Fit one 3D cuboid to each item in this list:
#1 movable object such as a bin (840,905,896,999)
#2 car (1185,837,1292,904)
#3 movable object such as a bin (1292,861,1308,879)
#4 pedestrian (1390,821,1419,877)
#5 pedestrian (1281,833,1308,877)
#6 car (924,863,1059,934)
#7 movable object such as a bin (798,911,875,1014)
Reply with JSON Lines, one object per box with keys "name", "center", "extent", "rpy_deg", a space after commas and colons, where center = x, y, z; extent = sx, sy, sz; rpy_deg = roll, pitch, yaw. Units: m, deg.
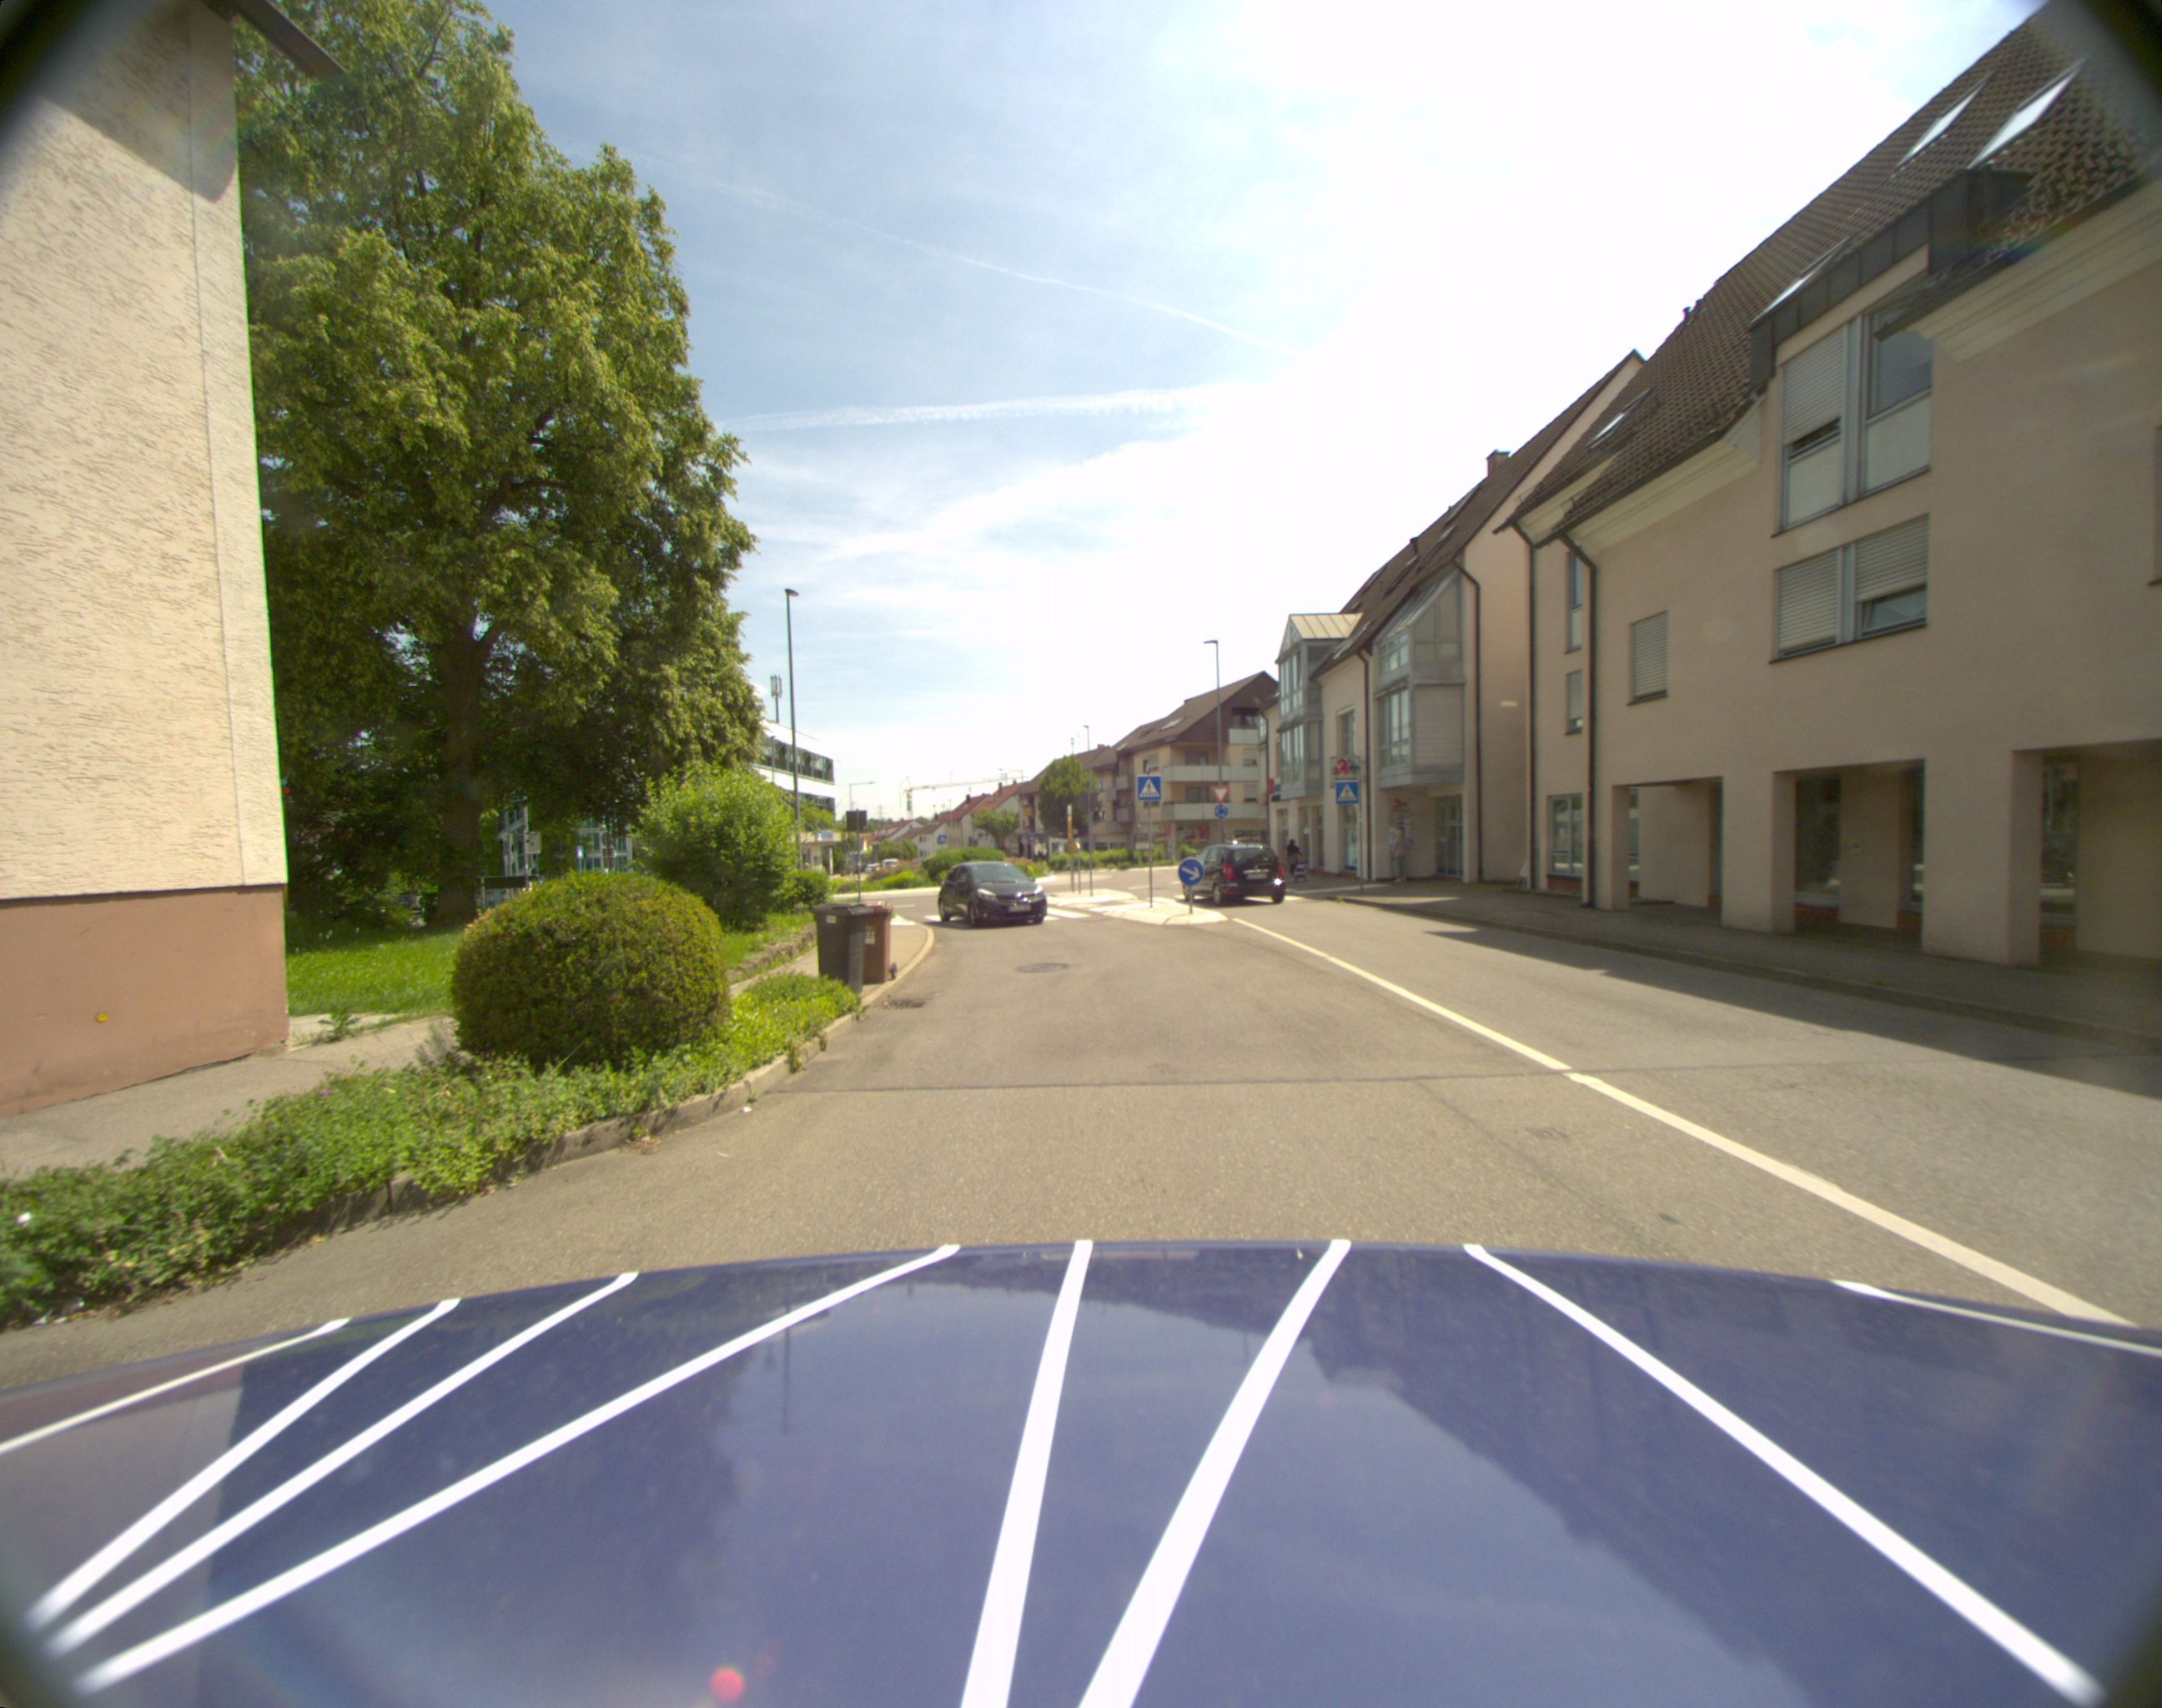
{"name": "movable object such as a bin", "center": [-2.449, 1.117, 8.767], "extent": [0.502, 0.988, 0.503], "rpy_deg": [-3, 1, -6]}
{"name": "car", "center": [4.148, 0.375, 20.673], "extent": [1.757, 1.575, 3.942], "rpy_deg": [-3, 1, -5]}
{"name": "movable object such as a bin", "center": [7.546, 0.548, 26.178], "extent": [0.458, 0.578, 0.469], "rpy_deg": [-2, 1, 12]}
{"name": "pedestrian", "center": [10.152, -0.151, 23.850], "extent": [0.577, 1.699, 0.579], "rpy_deg": [-4, 1, 3]}
{"name": "pedestrian", "center": [7.459, 0.025, 26.617], "extent": [0.801, 1.469, 0.958], "rpy_deg": [-2, 1, 12]}
{"name": "car", "center": [-2.301, 0.986, 18.359], "extent": [1.729, 1.448, 4.420], "rpy_deg": [-2, 0, -27]}
{"name": "movable object such as a bin", "center": [-2.524, 1.110, 7.866], "extent": [0.525, 0.987, 0.502], "rpy_deg": [-2, 1, 16]}
